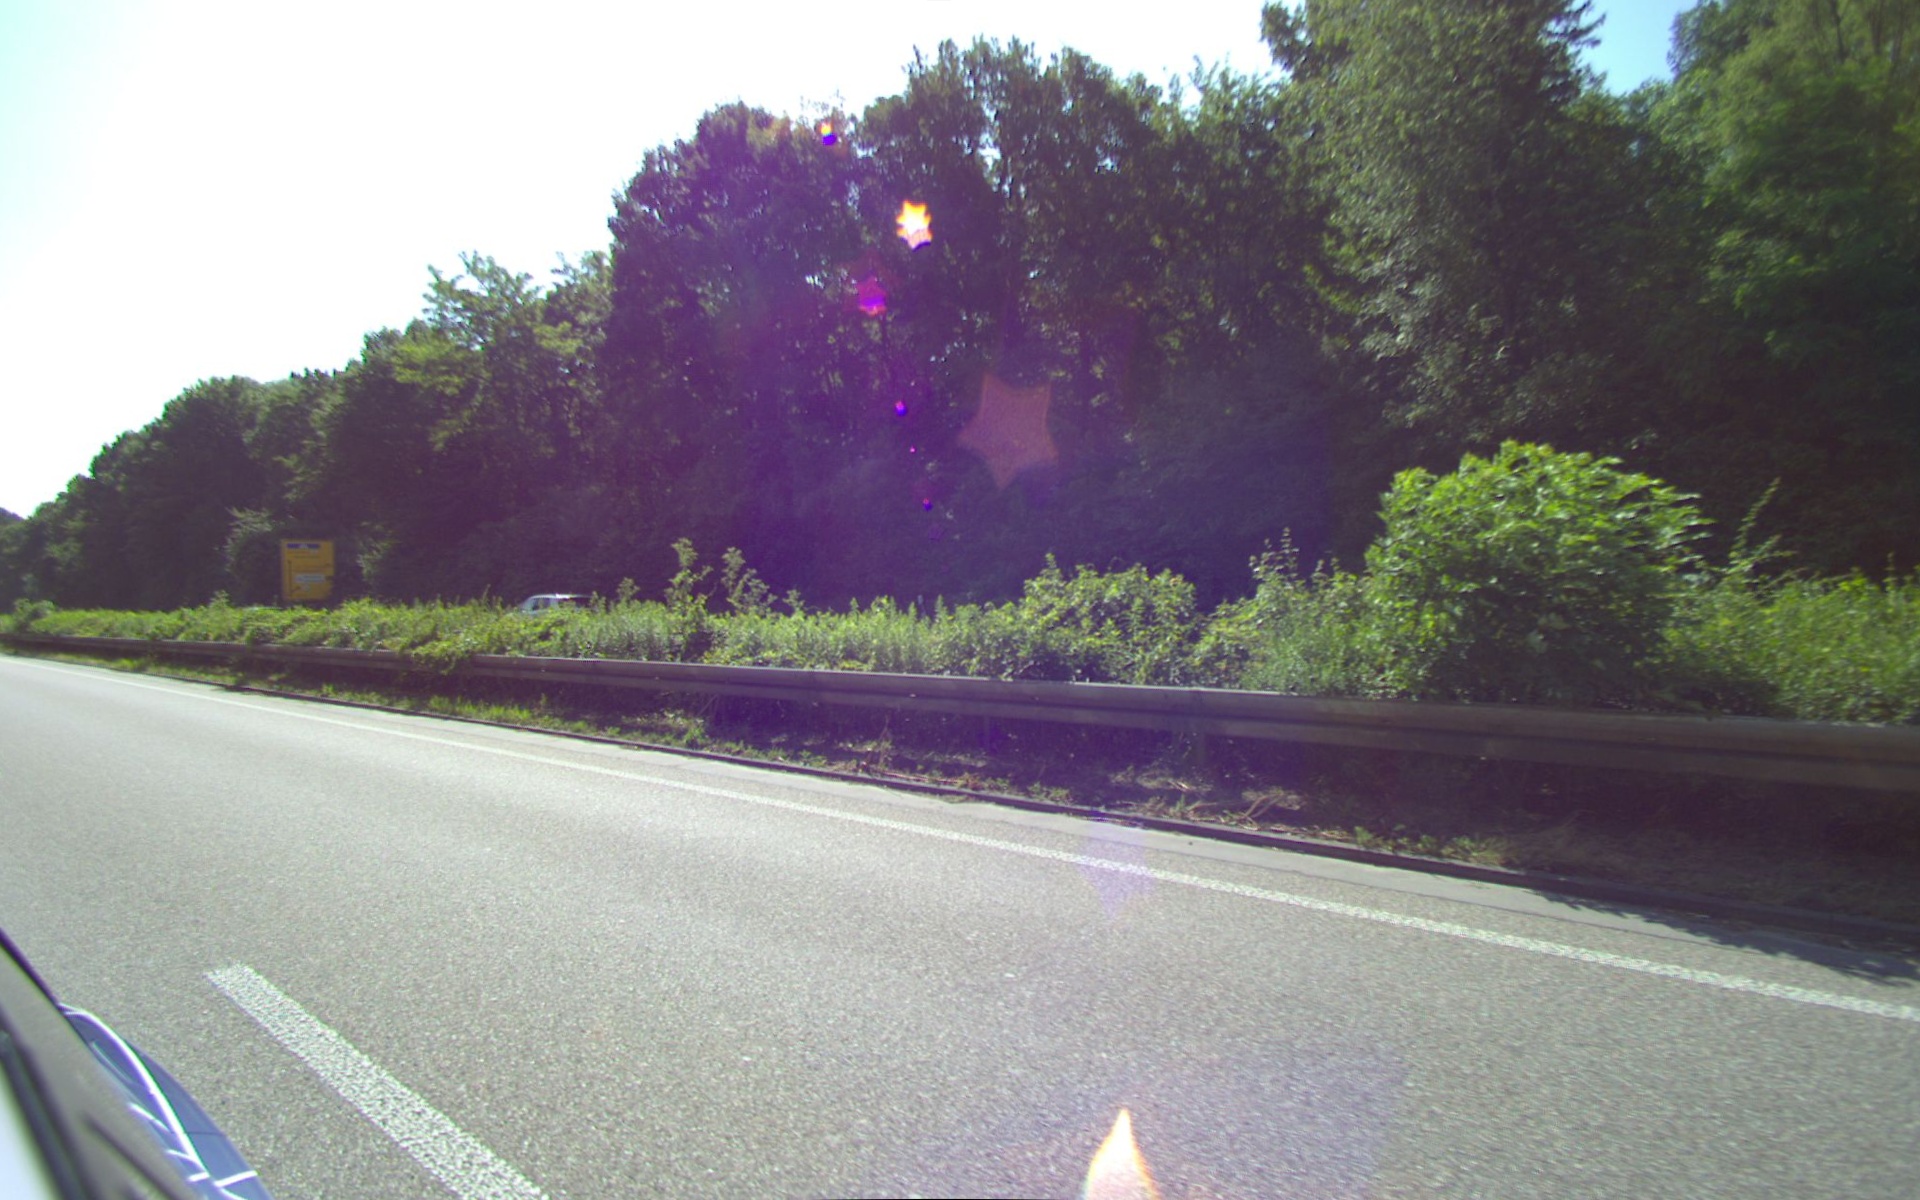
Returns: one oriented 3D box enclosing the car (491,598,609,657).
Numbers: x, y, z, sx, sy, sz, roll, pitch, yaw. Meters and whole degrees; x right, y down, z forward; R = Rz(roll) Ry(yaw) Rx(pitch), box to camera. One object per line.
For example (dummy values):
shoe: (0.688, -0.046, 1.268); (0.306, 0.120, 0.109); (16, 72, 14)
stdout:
car: (-12.483, 0.848, 30.729); (3.997, 1.674, 1.675); (-2, -2, 40)

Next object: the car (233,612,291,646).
car: (-34.669, 1.411, 50.233); (3.382, 1.578, 1.533); (-1, 0, 40)
